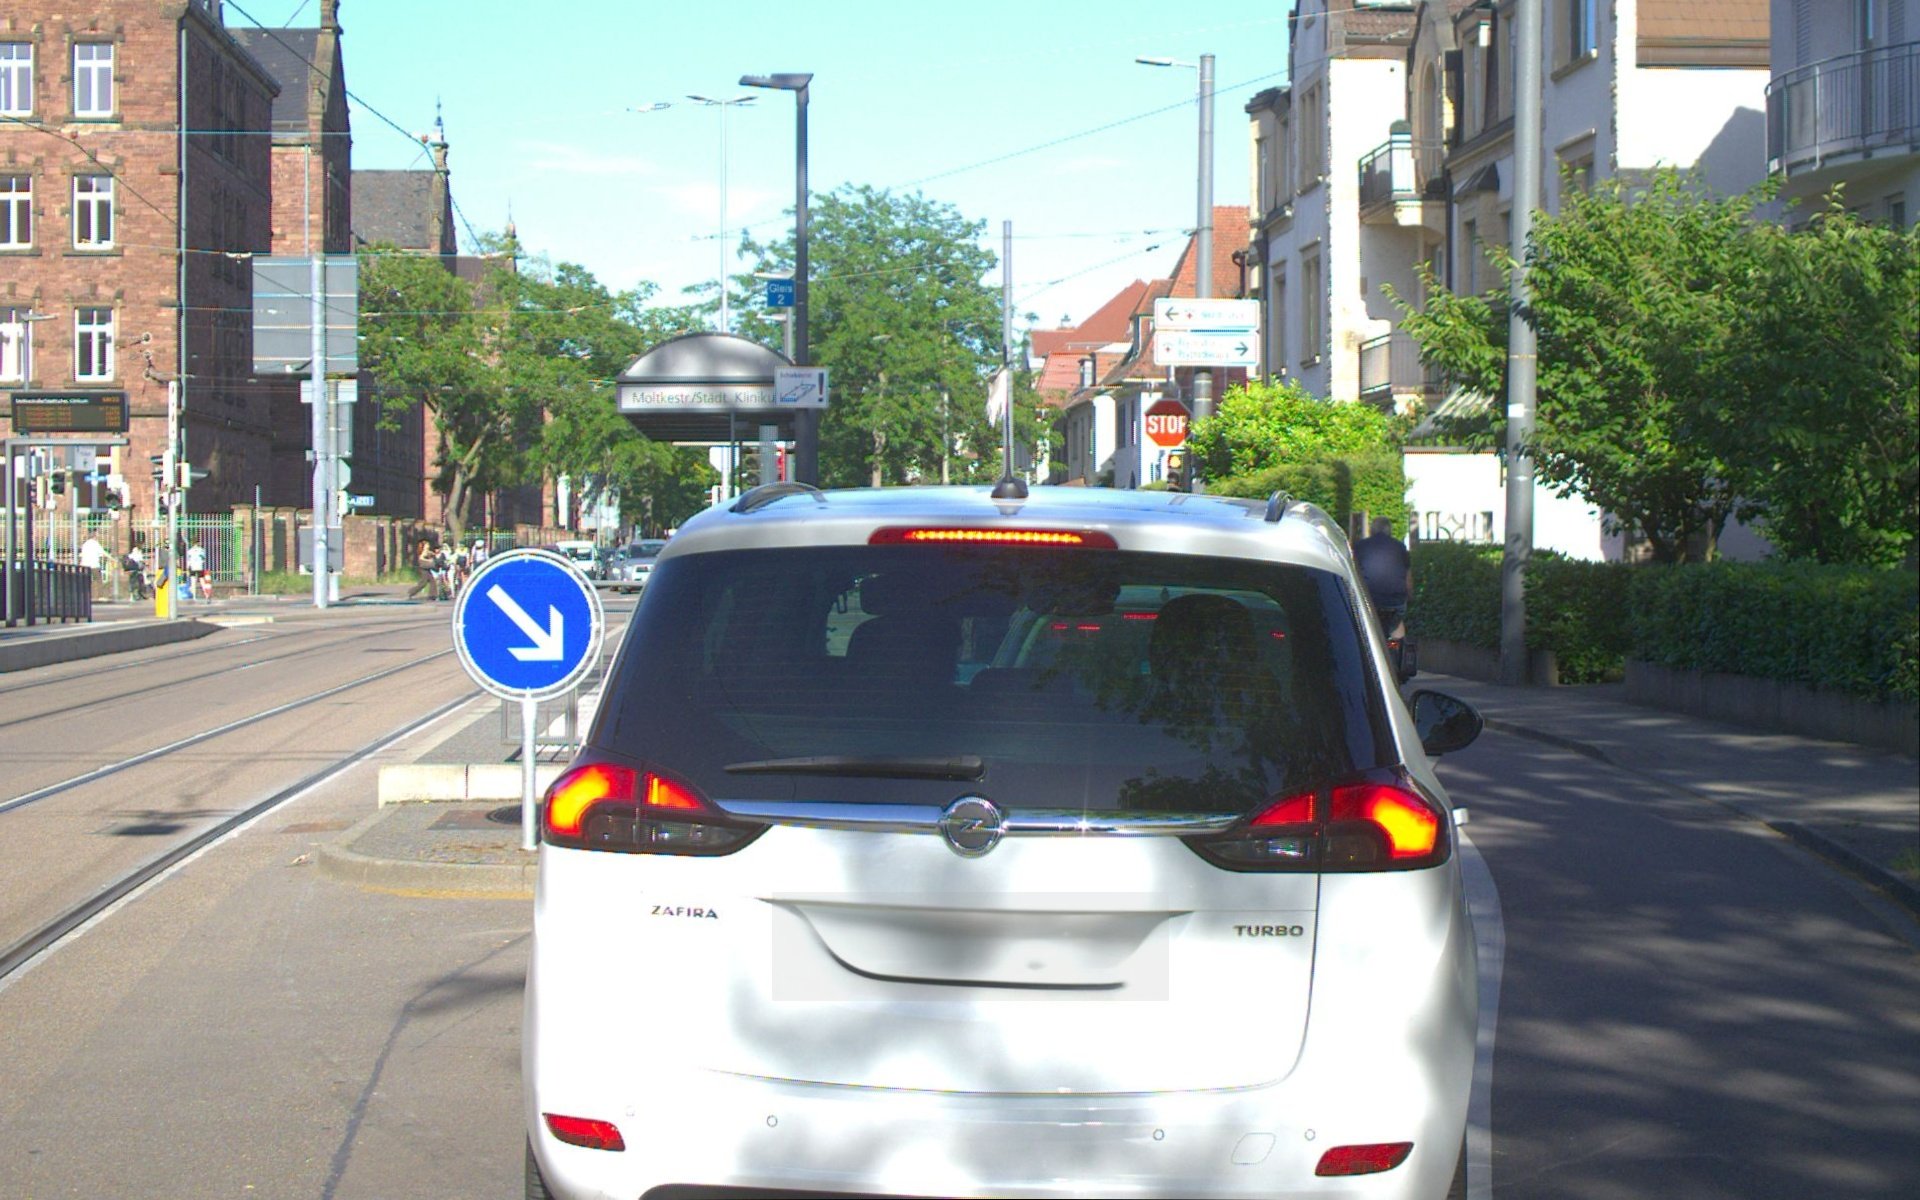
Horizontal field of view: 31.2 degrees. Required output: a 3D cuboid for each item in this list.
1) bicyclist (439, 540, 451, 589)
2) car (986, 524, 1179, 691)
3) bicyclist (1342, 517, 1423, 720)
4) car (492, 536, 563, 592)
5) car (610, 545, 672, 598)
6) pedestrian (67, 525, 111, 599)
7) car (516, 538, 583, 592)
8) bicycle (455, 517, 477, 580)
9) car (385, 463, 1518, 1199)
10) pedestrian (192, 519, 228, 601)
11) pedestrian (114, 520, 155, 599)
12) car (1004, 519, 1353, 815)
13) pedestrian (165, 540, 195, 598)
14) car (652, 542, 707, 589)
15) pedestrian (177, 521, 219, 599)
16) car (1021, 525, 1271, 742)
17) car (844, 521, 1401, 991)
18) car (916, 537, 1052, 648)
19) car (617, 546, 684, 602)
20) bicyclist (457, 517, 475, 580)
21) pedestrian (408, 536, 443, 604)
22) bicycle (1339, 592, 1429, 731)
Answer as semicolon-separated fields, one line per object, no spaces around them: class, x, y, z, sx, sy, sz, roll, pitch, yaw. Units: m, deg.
bicyclist;-15.438;-1.064;103.037;0.313;1.439;0.384;0;1;-1
car;1.239;0.037;36.107;1.907;1.656;4.000;0;1;1
bicyclist;3.535;0.145;28.795;0.616;1.681;0.779;0;1;4
car;-13.440;-1.118;107.039;1.746;1.710;4.000;1;1;-1
car;-10.665;-0.947;115.213;1.746;1.710;4.000;1;1;-1
pedestrian;-22.546;-0.990;88.991;0.808;1.894;0.743;1;0;14
car;-13.566;-1.154;113.706;1.746;1.710;4.000;1;1;-1
bicycle;-15.668;-1.632;109.038;0.487;2.007;1.405;0;1;0
car;0.198;0.563;7.745;1.907;1.656;3.999;0;1;7
pedestrian;-18.538;-0.999;84.968;0.794;2.007;0.721;1;0;-17
pedestrian;-21.209;-1.043;88.339;0.795;2.007;0.720;1;0;-34
car;1.428;0.330;20.993;1.907;1.619;3.999;0;1;7
pedestrian;-21.620;-0.860;95.290;0.654;1.606;0.711;1;0;2
car;-10.504;-1.294;129.064;1.746;1.710;4.000;1;1;-1
pedestrian;-19.722;-1.028;88.962;0.795;2.007;0.720;1;0;-37
car;1.563;0.218;28.270;1.907;1.656;4.000;0;1;4
car;0.780;0.492;13.770;1.907;1.592;3.999;0;1;7
car;0.332;-0.148;53.085;1.907;1.656;4.001;0;1;-2
car;-9.652;-0.818;107.356;1.746;1.710;4.000;1;1;-1
bicyclist;-15.673;-1.632;109.055;0.498;2.007;0.572;0;1;-1
pedestrian;-14.951;-0.849;96.170;0.741;1.894;0.811;1;0;-28
bicycle;3.534;0.493;28.774;0.624;1.093;1.973;0;1;4
